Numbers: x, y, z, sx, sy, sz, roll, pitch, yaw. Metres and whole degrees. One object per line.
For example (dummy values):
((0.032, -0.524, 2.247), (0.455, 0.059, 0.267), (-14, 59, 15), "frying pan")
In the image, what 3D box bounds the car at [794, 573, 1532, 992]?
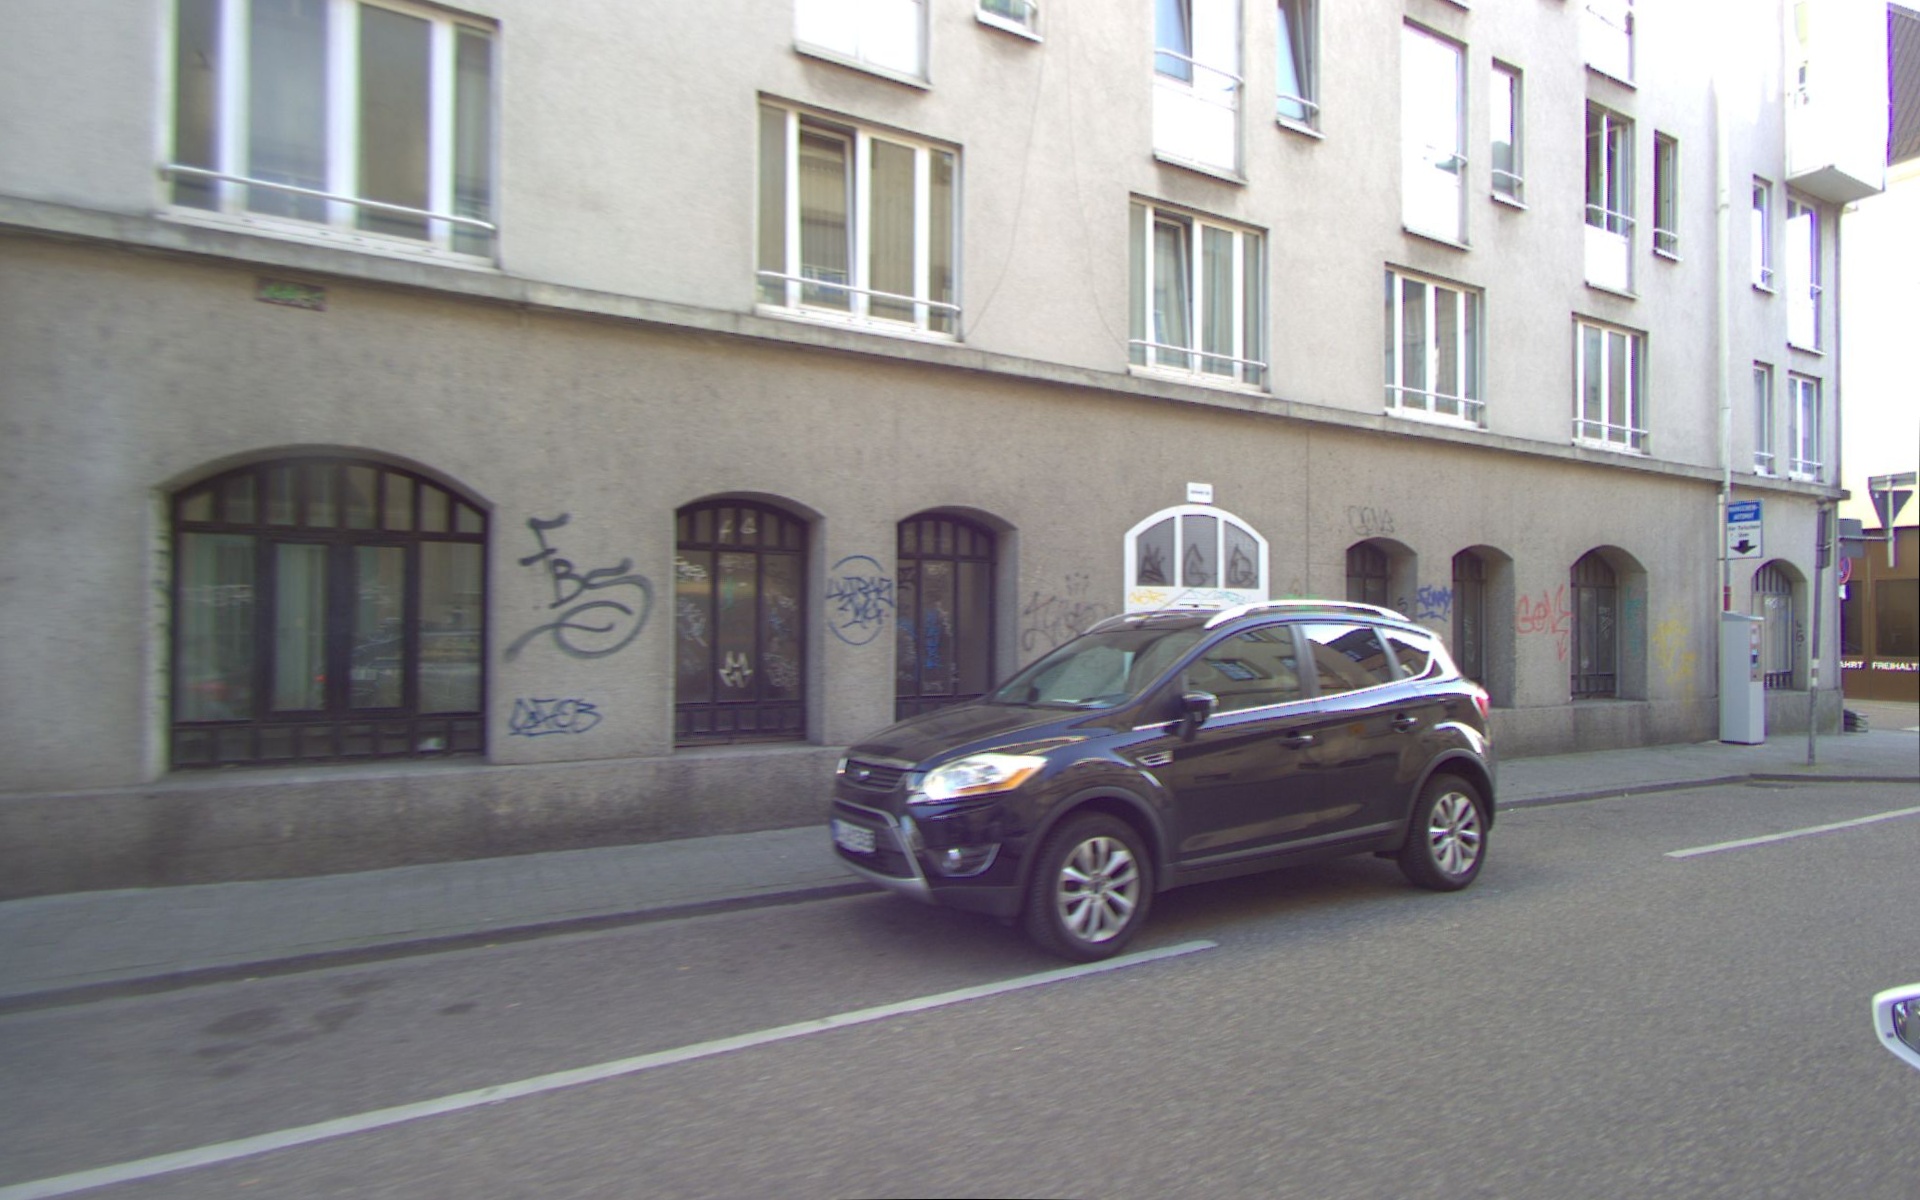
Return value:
((1.276, 0.834, 5.960), (4.139, 1.733, 1.733), (1, -4, -29), "car")
